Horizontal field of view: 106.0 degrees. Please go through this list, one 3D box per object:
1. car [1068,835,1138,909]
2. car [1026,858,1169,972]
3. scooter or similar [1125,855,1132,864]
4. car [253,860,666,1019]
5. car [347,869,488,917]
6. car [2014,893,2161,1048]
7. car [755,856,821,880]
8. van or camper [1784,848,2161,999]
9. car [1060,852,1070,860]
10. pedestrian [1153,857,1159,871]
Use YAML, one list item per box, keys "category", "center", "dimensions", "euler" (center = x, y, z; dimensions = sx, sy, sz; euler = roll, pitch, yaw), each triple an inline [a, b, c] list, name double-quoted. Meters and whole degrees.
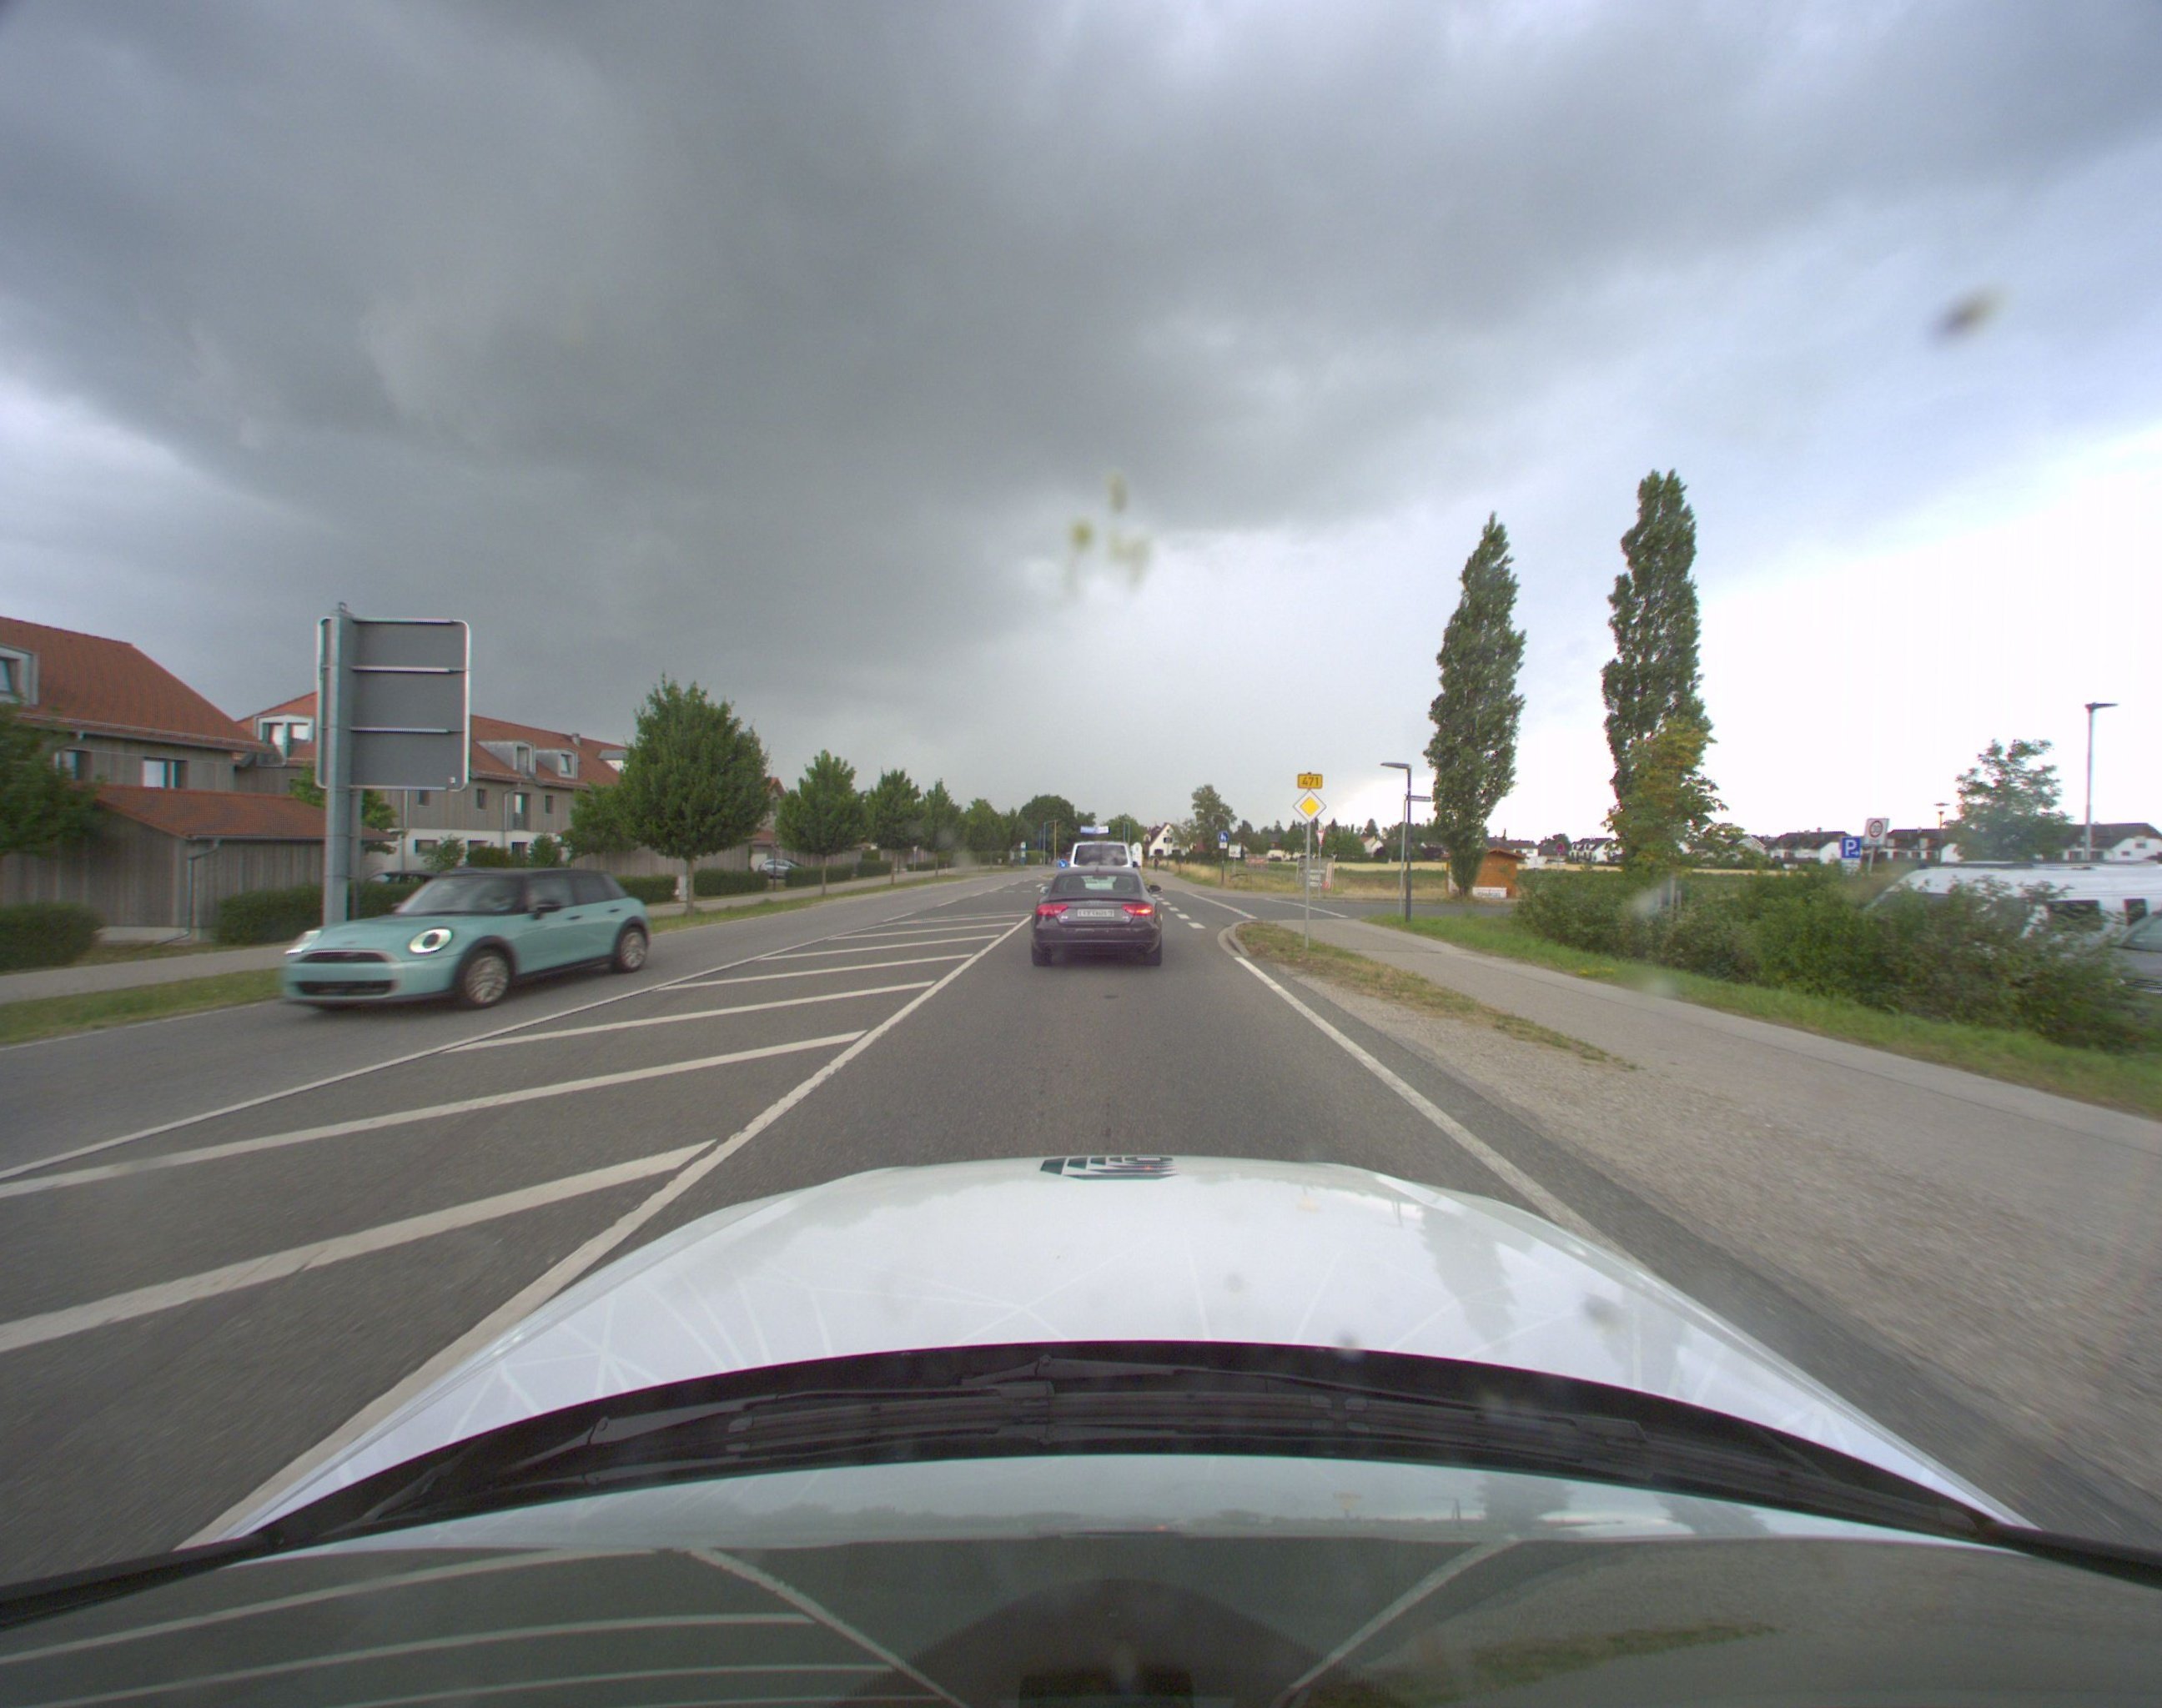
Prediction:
- category: "car"
  center: [0.599, 0.484, 23.668]
  dimensions: [1.819, 1.913, 4.000]
  euler: [2, 0, 0]
- category: "car"
  center: [0.129, 0.794, 12.685]
  dimensions: [1.821, 1.388, 4.383]
  euler: [-1, 0, -3]
- category: "scooter or similar"
  center: [5.879, 0.693, 100.944]
  dimensions: [0.845, 1.103, 1.094]
  euler: [-1, 0, 2]
- category: "car"
  center: [-6.954, 0.835, 9.768]
  dimensions: [1.763, 1.443, 4.002]
  euler: [-1, 0, 2]
- category: "car"
  center: [-22.448, 1.302, 27.641]
  dimensions: [3.501, 1.489, 1.564]
  euler: [-1, 0, 1]
- category: "car"
  center: [17.227, 1.634, 12.054]
  dimensions: [4.578, 2.013, 2.000]
  euler: [-1, 0, -1]
- category: "car"
  center: [-21.121, 1.012, 58.811]
  dimensions: [3.970, 1.556, 2.002]
  euler: [2, 0, 3]
- category: "van or camper"
  center: [17.173, 1.175, 15.069]
  dimensions: [6.447, 2.464, 2.281]
  euler: [-1, 0, -1]
- category: "car"
  center: [-2.762, 0.351, 143.233]
  dimensions: [1.647, 1.429, 3.603]
  euler: [-1, 0, 1]
- category: "pedestrian"
  center: [7.979, 1.061, 86.533]
  dimensions: [0.621, 1.525, 0.680]
  euler: [-1, 0, 1]
